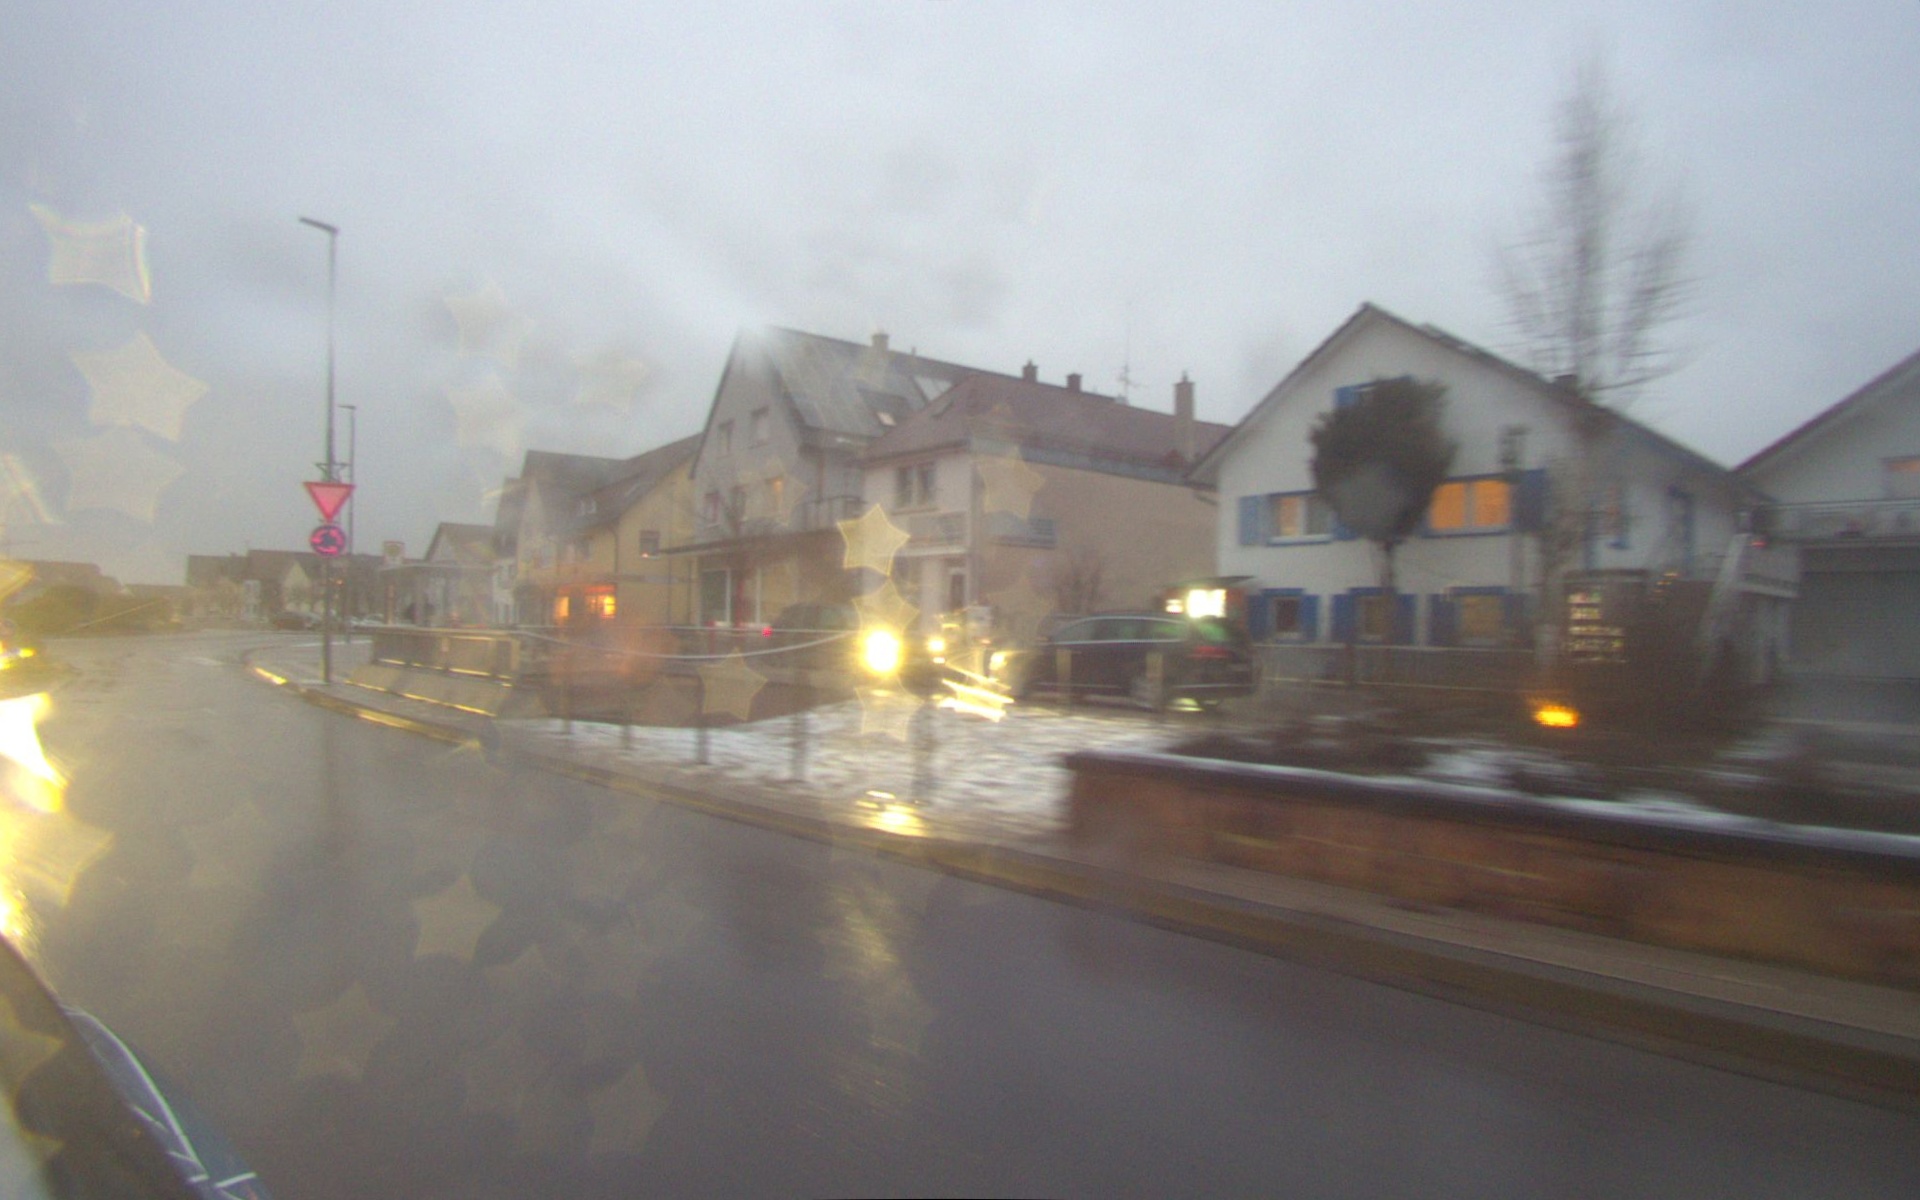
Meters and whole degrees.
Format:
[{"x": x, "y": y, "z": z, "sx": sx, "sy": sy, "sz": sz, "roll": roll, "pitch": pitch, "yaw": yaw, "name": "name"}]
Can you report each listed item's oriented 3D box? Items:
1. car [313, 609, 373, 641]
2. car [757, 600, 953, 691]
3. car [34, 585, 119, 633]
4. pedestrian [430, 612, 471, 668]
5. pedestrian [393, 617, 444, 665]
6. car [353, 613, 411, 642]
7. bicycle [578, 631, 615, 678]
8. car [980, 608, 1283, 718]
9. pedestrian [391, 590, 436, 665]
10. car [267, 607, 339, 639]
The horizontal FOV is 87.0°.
[{"x": -42.811, "y": 1.701, "z": 70.239, "sx": 3.955, "sy": 2.028, "sz": 1.907, "roll": 2, "pitch": 2, "yaw": 29, "name": "car"}, {"x": -2.324, "y": 0.951, "z": 21.319, "sx": 1.733, "sy": 1.714, "sz": 4.570, "roll": 4, "pitch": -4, "yaw": -42, "name": "car"}, {"x": -39.603, "y": 0.351, "z": 45.482, "sx": 2.024, "sy": 2.001, "sz": 4.551, "roll": 0, "pitch": 2, "yaw": -30, "name": "car"}, {"x": -12.053, "y": 0.946, "z": 23.932, "sx": 0.677, "sy": 1.281, "sz": 0.751, "roll": -1, "pitch": -1, "yaw": -43, "name": "pedestrian"}, {"x": -13.612, "y": 1.025, "z": 25.449, "sx": 0.975, "sy": 1.167, "sz": 0.903, "roll": 0, "pitch": -2, "yaw": -38, "name": "pedestrian"}, {"x": -41.351, "y": 1.933, "z": 72.447, "sx": 3.855, "sy": 1.895, "sz": 1.917, "roll": 2, "pitch": 2, "yaw": 29, "name": "car"}, {"x": -8.354, "y": 1.234, "z": 23.212, "sx": 0.463, "sy": 1.017, "sz": 1.744, "roll": 1, "pitch": -1, "yaw": -31, "name": "bicycle"}, {"x": 2.574, "y": 0.937, "z": 16.065, "sx": 4.574, "sy": 1.494, "sz": 1.782, "roll": -2, "pitch": -3, "yaw": 45, "name": "car"}, {"x": -13.022, "y": 0.647, "z": 24.098, "sx": 0.687, "sy": 1.755, "sz": 0.740, "roll": -2, "pitch": -1, "yaw": 43, "name": "pedestrian"}, {"x": -44.097, "y": 1.526, "z": 67.919, "sx": 3.964, "sy": 2.010, "sz": 1.962, "roll": 1, "pitch": 2, "yaw": 16, "name": "car"}]
